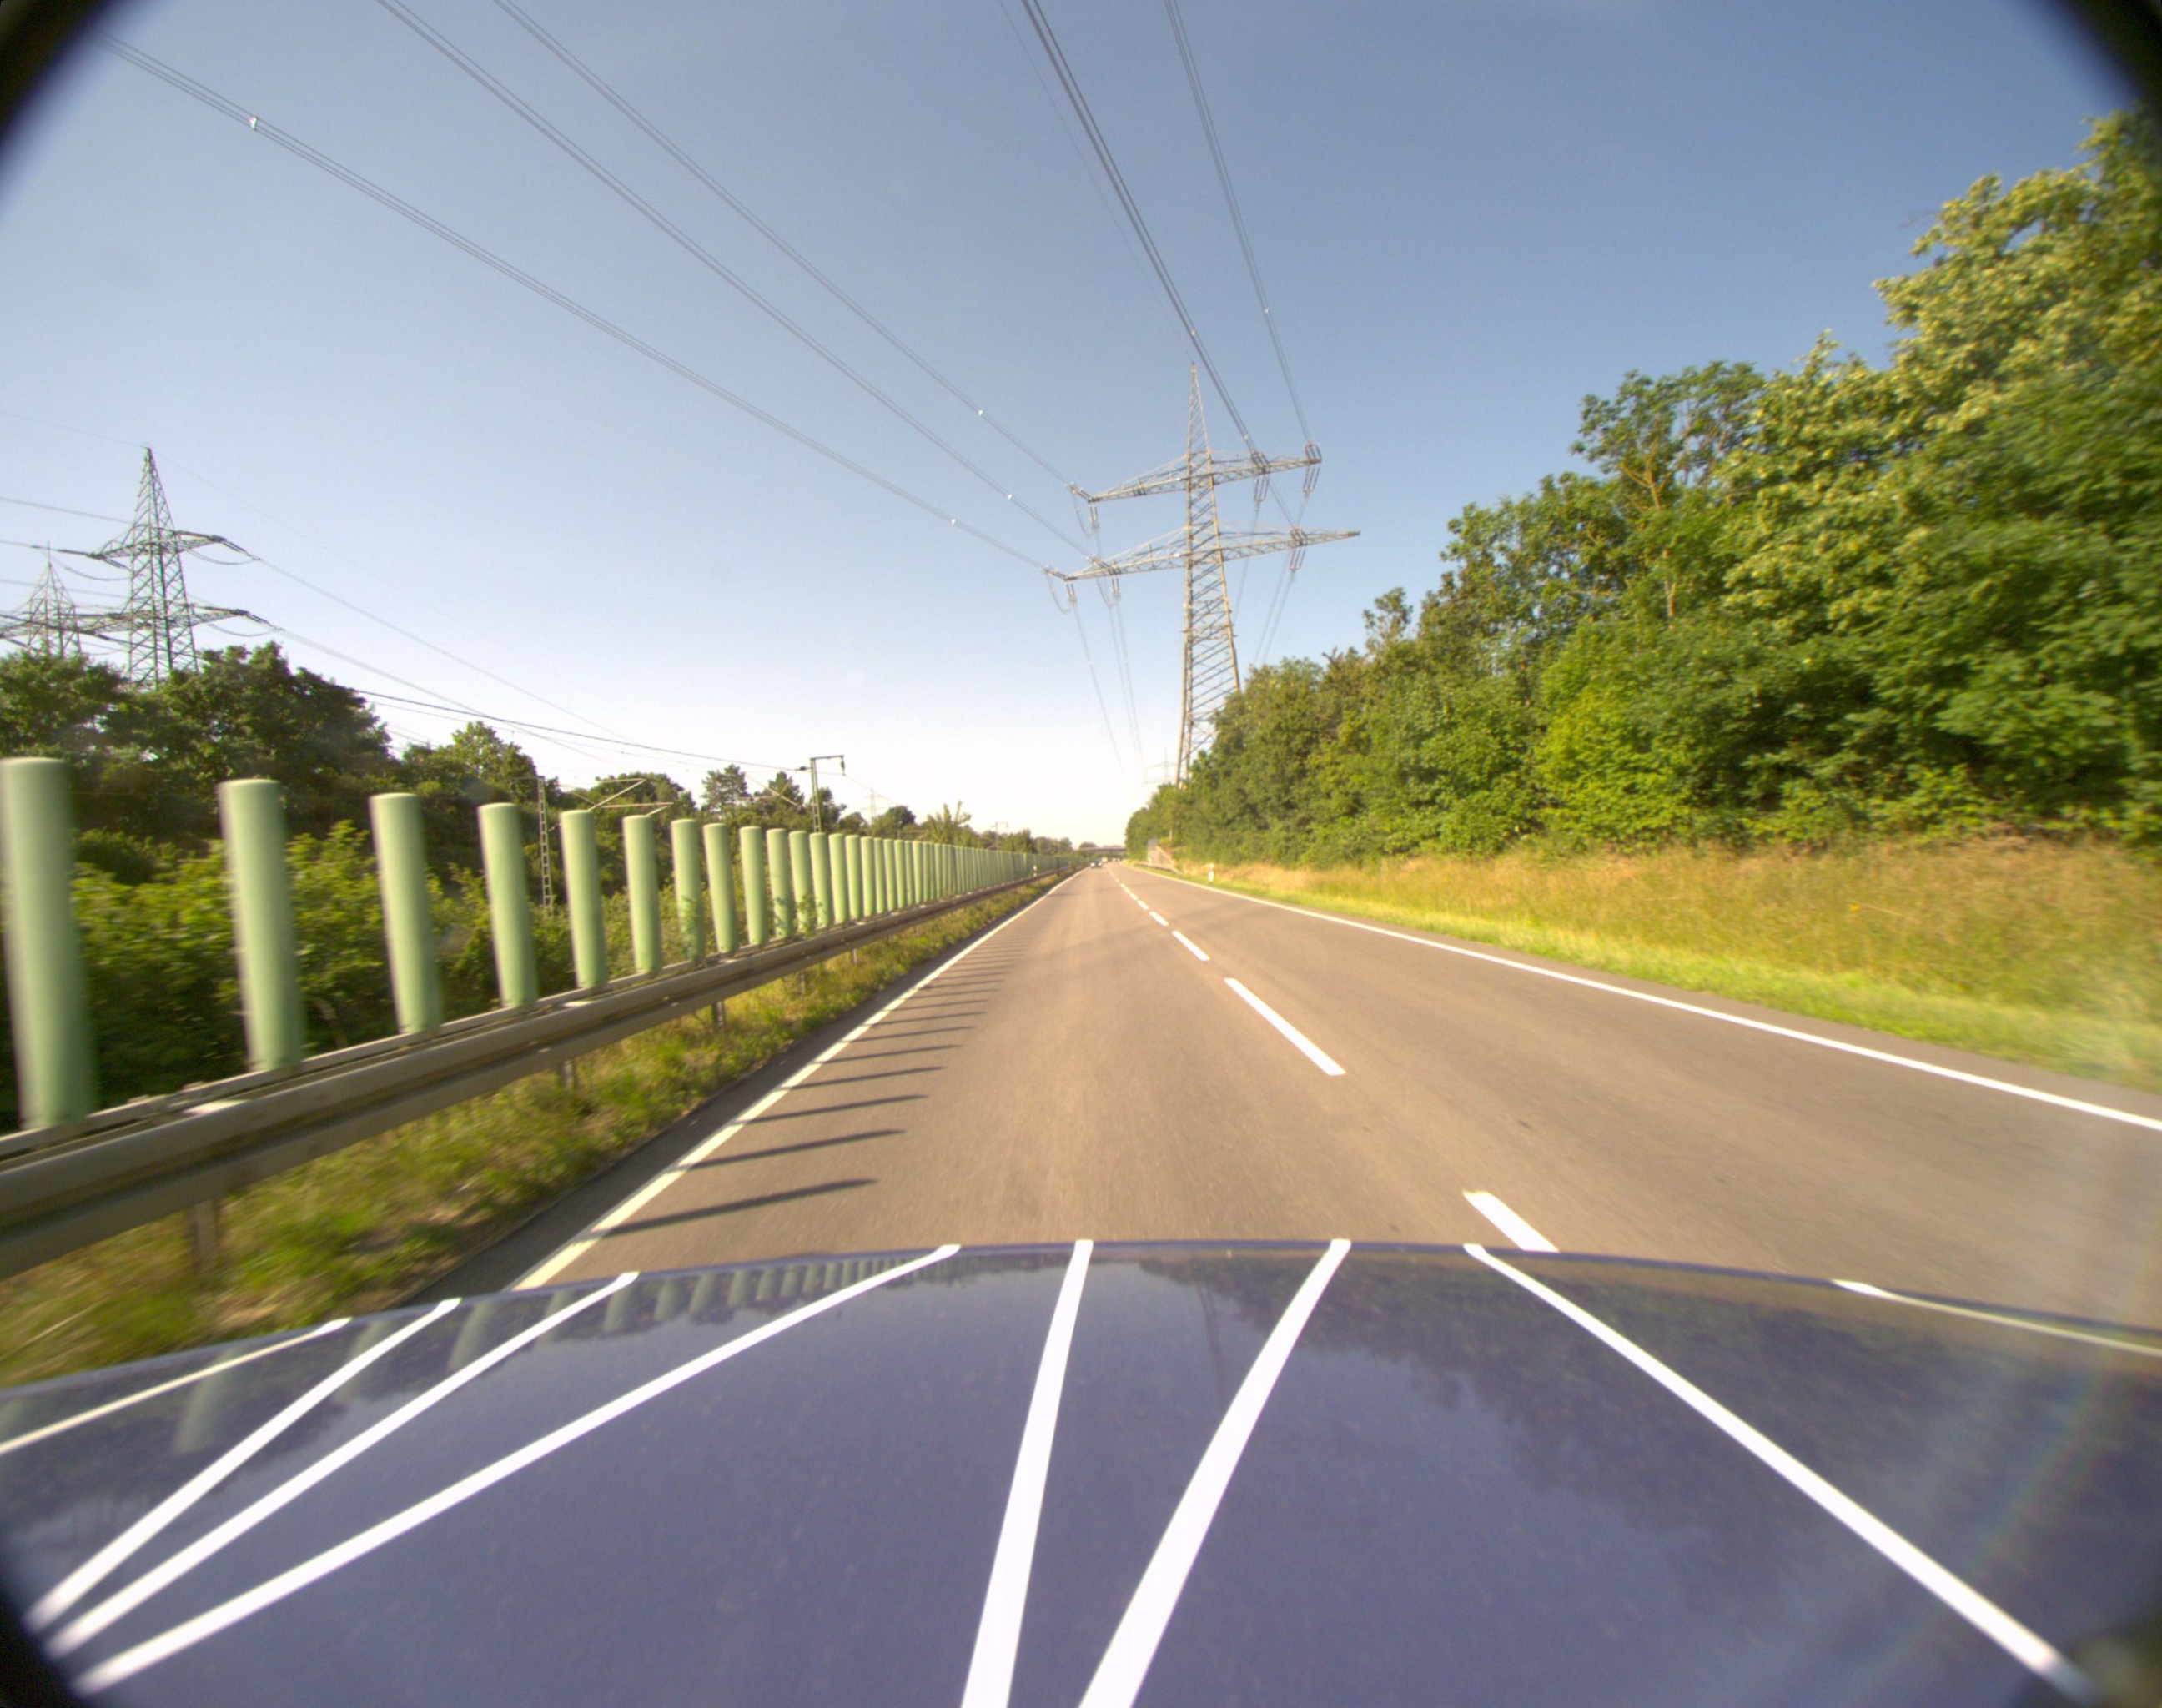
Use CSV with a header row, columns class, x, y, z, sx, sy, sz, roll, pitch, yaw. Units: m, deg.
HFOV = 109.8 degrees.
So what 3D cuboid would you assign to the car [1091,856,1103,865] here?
class,x,y,z,sx,sy,sz,roll,pitch,yaw
car,2.783,1.116,130.185,1.786,1.550,4.001,-2,0,3
